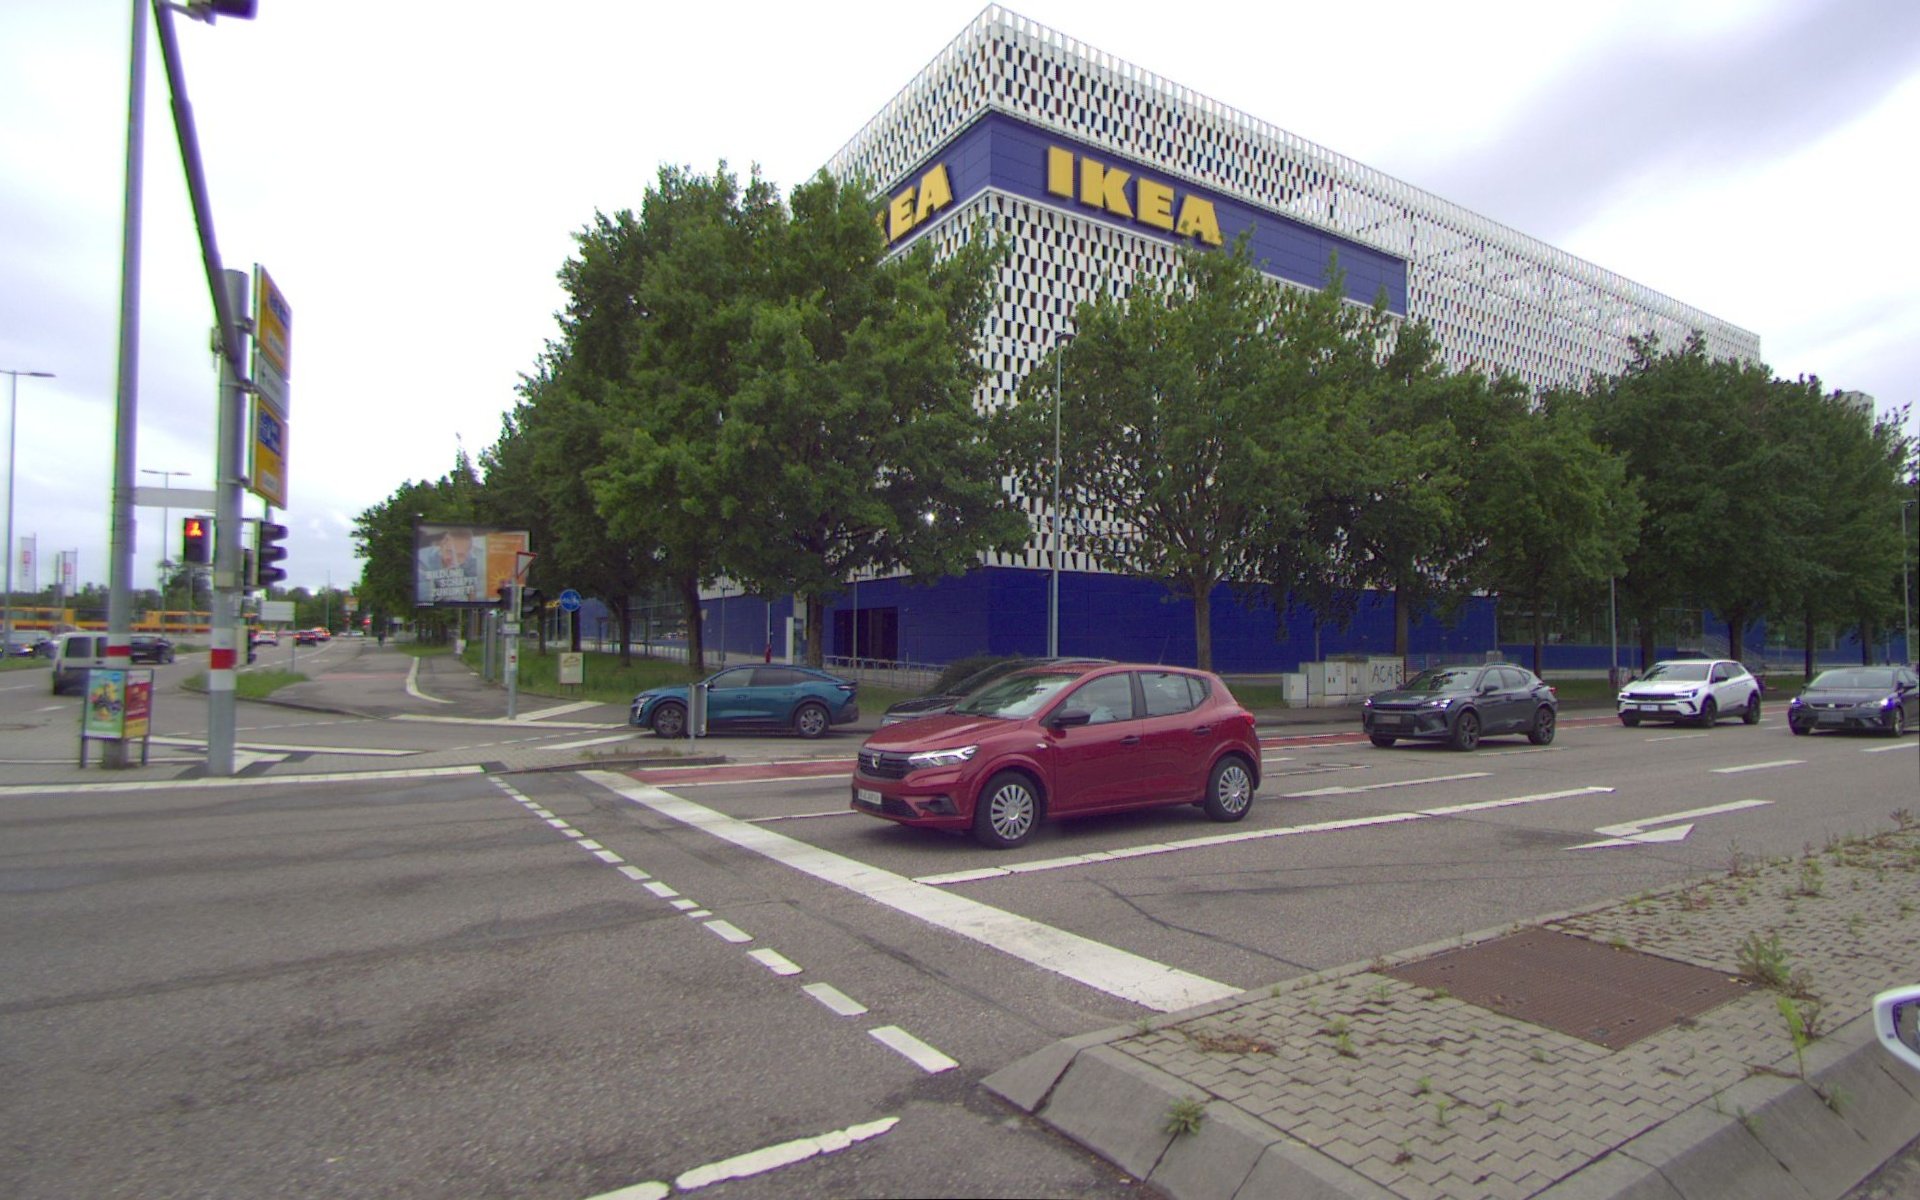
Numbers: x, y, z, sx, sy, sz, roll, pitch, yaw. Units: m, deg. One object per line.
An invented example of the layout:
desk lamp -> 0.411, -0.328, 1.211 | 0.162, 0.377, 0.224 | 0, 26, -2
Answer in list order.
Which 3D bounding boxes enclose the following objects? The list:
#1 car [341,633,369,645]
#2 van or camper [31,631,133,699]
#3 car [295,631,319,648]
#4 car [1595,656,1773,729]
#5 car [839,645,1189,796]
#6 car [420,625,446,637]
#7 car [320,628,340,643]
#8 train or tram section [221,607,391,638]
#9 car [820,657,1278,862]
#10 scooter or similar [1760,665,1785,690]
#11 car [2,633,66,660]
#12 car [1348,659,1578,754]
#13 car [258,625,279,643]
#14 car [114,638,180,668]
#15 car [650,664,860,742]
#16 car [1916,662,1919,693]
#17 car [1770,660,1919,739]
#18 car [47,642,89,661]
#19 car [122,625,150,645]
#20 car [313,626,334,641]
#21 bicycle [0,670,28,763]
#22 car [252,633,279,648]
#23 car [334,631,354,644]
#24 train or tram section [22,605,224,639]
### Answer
car -> -99.076, 6.332, 164.525 | 3.879, 1.912, 1.833 | 1, 1, -31
van or camper -> -25.351, 1.816, 29.134 | 1.982, 1.744, 4.346 | 0, -1, -38
car -> -68.788, 4.184, 105.904 | 1.828, 1.677, 4.325 | 4, -3, -31
car -> 17.981, 2.263, 24.895 | 4.527, 1.614, 1.984 | 1, -6, -33
car -> 0.771, 1.482, 13.031 | 4.289, 1.658, 1.869 | 3, -6, -34
car -> -95.161, 5.568, 181.354 | 3.954, 2.040, 1.983 | 0, -1, -31
car -> -85.299, 4.792, 136.065 | 1.824, 1.911, 3.900 | 0, -2, -26
train or tram section -> -106.378, 3.760, 164.242 | 23.032, 4.902, 3.601 | 1, -1, -33
car -> 0.922, 1.326, 9.278 | 4.036, 1.506, 1.725 | 3, -5, -34
scooter or similar -> 41.244, 3.933, 50.988 | 1.364, 1.212, 0.651 | 1, -1, -35
car -> -54.949, 2.741, 59.666 | 1.780, 1.434, 4.188 | 0, -1, -28
car -> 9.450, 1.929, 18.775 | 4.552, 1.564, 1.869 | 3, -5, -34
car -> -87.964, 4.312, 127.813 | 1.978, 2.248, 3.967 | 2, -3, -31
car -> -39.937, 2.620, 49.413 | 1.705, 1.389, 3.973 | 2, -4, -27
car -> -4.149, 2.075, 20.648 | 4.045, 1.506, 1.699 | 1, -3, -10
car -> 48.630, 3.741, 48.860 | 4.278, 1.481, 1.850 | 1, -4, -29
car -> 19.375, 2.057, 21.509 | 4.285, 1.481, 1.847 | 1, -4, -33
car -> -75.770, 4.383, 85.374 | 1.780, 1.434, 4.188 | 0, -1, -28
car -> -97.933, 4.183, 119.420 | 1.978, 2.272, 3.967 | 2, -3, -31
car -> -82.974, 4.370, 130.919 | 1.824, 1.911, 3.900 | 3, -3, -26
bicycle -> -13.525, 1.511, 13.216 | 1.910, 1.181, 0.508 | 2, 0, -5
car -> -70.532, 4.123, 102.114 | 1.765, 1.471, 3.905 | 3, -3, -28
car -> -87.808, 5.285, 143.210 | 1.823, 1.742, 3.902 | 0, -1, -24
train or tram section -> -125.756, 3.392, 151.799 | 23.032, 4.902, 3.601 | 1, -1, -33
